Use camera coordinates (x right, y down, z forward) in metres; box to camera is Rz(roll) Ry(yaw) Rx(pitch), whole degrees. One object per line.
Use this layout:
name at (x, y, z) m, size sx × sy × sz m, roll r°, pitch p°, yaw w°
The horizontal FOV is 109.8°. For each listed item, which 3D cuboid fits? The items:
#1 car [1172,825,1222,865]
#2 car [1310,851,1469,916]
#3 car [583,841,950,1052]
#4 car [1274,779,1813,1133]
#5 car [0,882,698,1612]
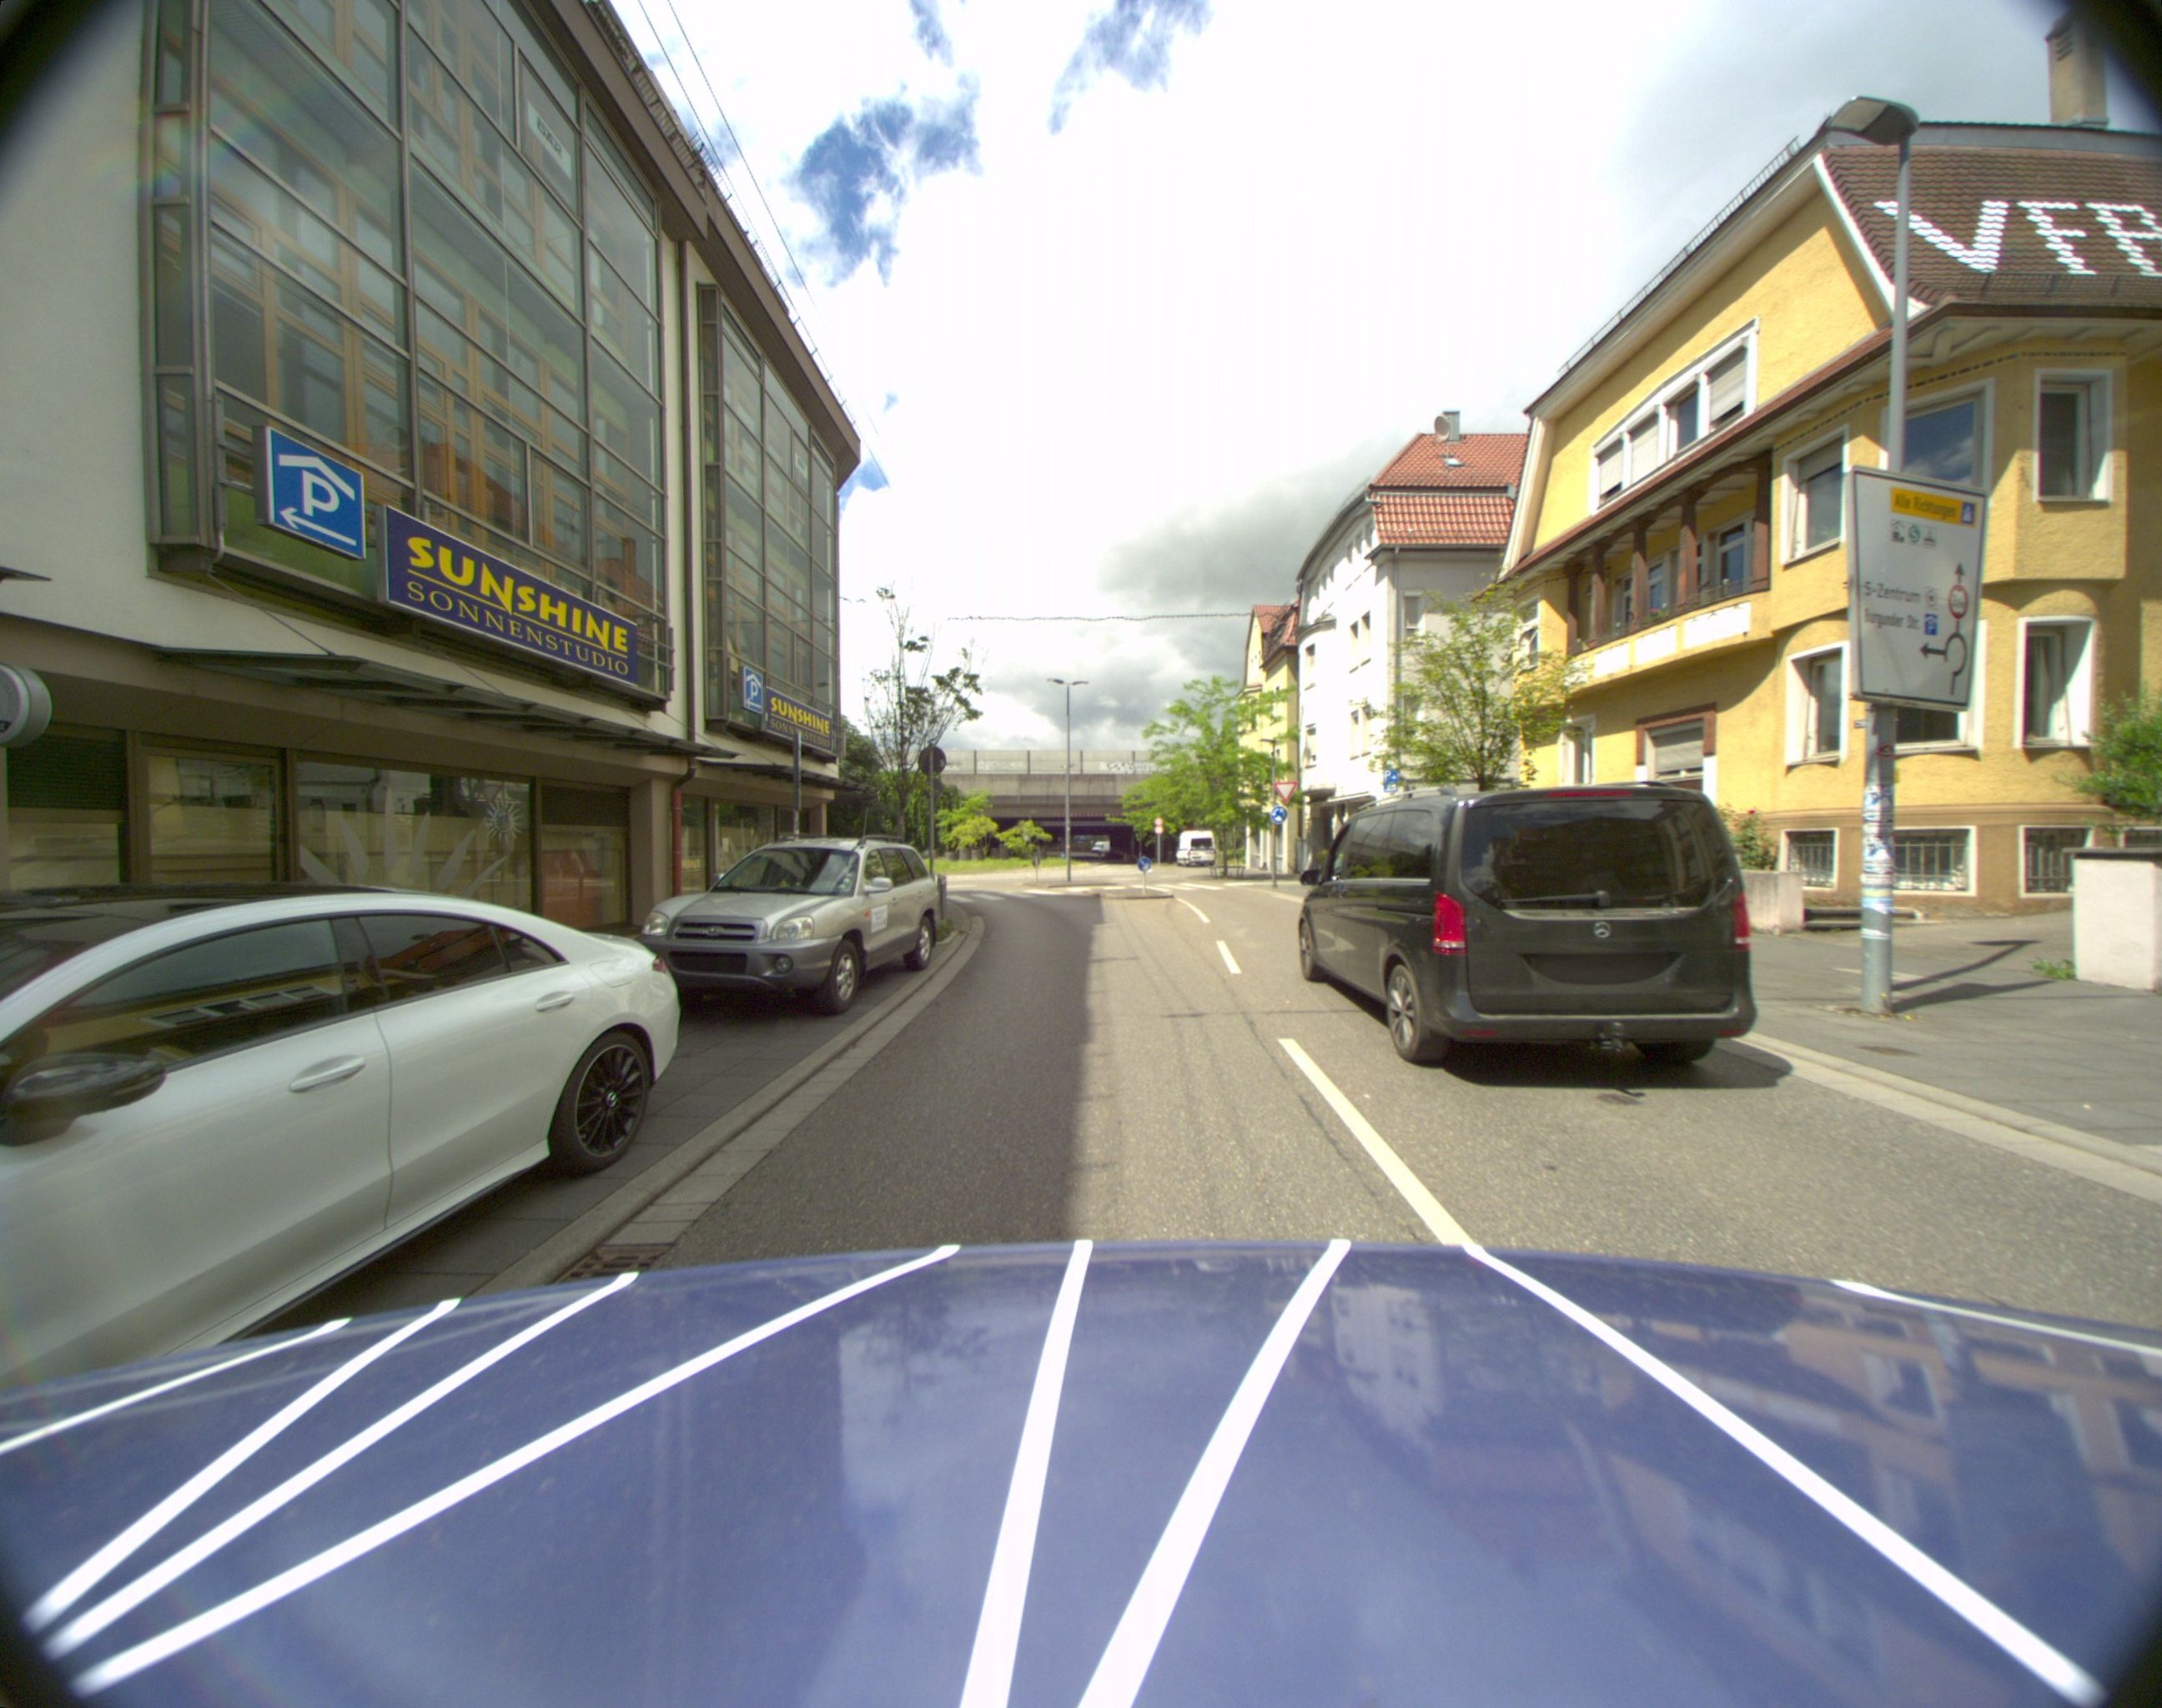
car at (8.455, -0.733, 56.123) m, size 2.309 × 2.657 × 7.266 m, roll -2°, pitch 2°, yaw -2°
car at (6.985, 0.602, 17.752) m, size 1.722 × 1.297 × 4.465 m, roll -1°, pitch 0°, yaw -3°
car at (-2.960, 0.705, 8.381) m, size 1.824 × 1.652 × 4.467 m, roll 1°, pitch 1°, yaw 6°
car at (3.175, 0.566, 6.747) m, size 1.876 × 1.922 × 5.177 m, roll -1°, pitch 0°, yaw 3°
car at (-3.265, 0.933, 2.208) m, size 1.856 × 1.436 × 4.535 m, roll -1°, pitch 1°, yaw 2°
